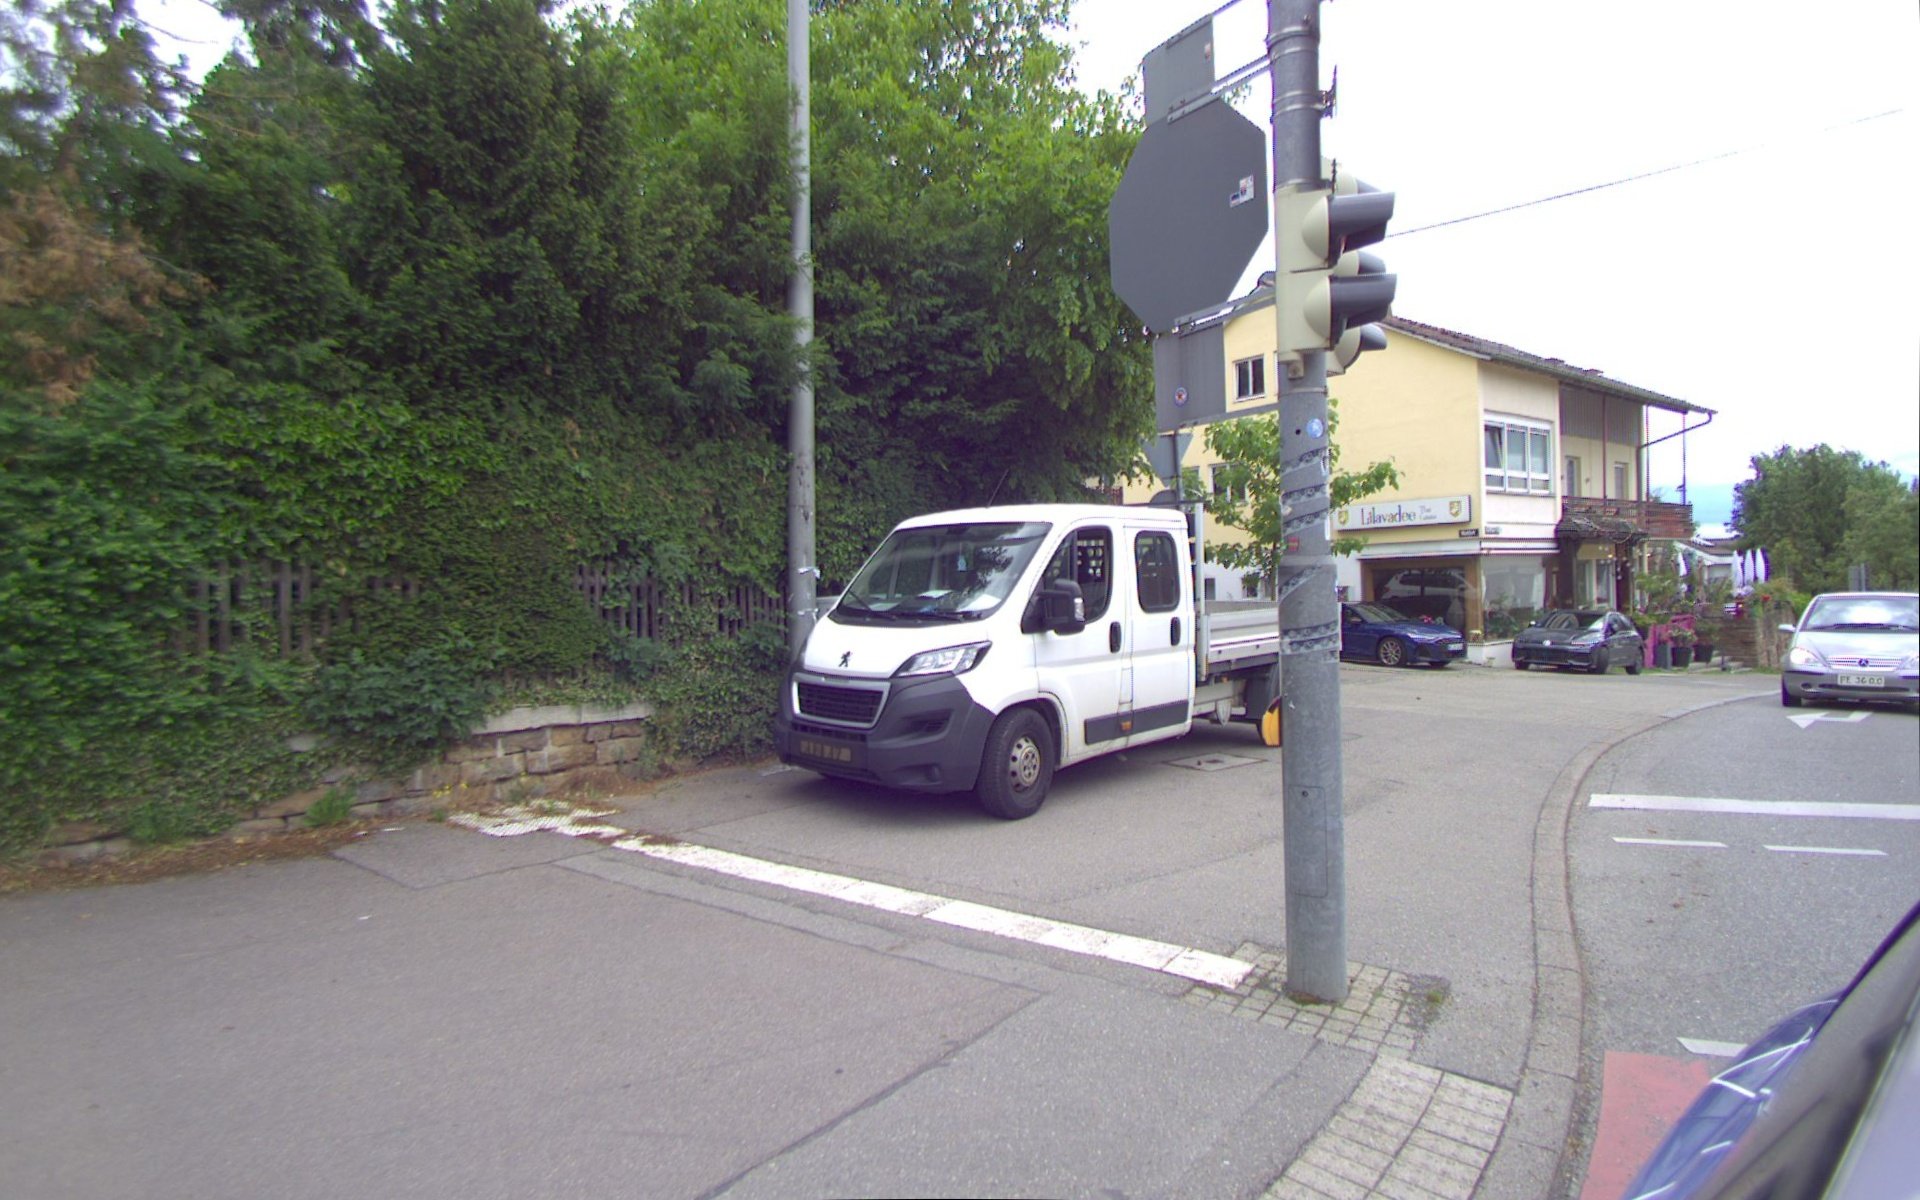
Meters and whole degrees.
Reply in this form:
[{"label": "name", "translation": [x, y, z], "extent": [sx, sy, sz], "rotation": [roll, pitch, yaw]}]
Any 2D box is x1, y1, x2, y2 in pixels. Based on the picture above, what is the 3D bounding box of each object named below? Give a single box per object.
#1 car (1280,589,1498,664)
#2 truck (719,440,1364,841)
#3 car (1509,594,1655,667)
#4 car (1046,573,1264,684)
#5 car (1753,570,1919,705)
[{"label": "car", "translation": [9.631, 0.559, 23.041], "extent": [1.894, 1.548, 4.231], "rotation": [2, -1, -32]}, {"label": "truck", "translation": [1.169, 0.082, 9.035], "extent": [2.397, 2.380, 6.093], "rotation": [0, 3, 44]}, {"label": "car", "translation": [14.277, 0.723, 23.154], "extent": [3.815, 1.512, 1.871], "rotation": [4, -3, -42]}, {"label": "car", "translation": [3.220, 0.415, 17.592], "extent": [1.830, 1.660, 4.075], "rotation": [-2, 1, -21]}, {"label": "car", "translation": [12.534, 0.505, 13.930], "extent": [3.933, 1.617, 1.995], "rotation": [2, -2, -44]}]
